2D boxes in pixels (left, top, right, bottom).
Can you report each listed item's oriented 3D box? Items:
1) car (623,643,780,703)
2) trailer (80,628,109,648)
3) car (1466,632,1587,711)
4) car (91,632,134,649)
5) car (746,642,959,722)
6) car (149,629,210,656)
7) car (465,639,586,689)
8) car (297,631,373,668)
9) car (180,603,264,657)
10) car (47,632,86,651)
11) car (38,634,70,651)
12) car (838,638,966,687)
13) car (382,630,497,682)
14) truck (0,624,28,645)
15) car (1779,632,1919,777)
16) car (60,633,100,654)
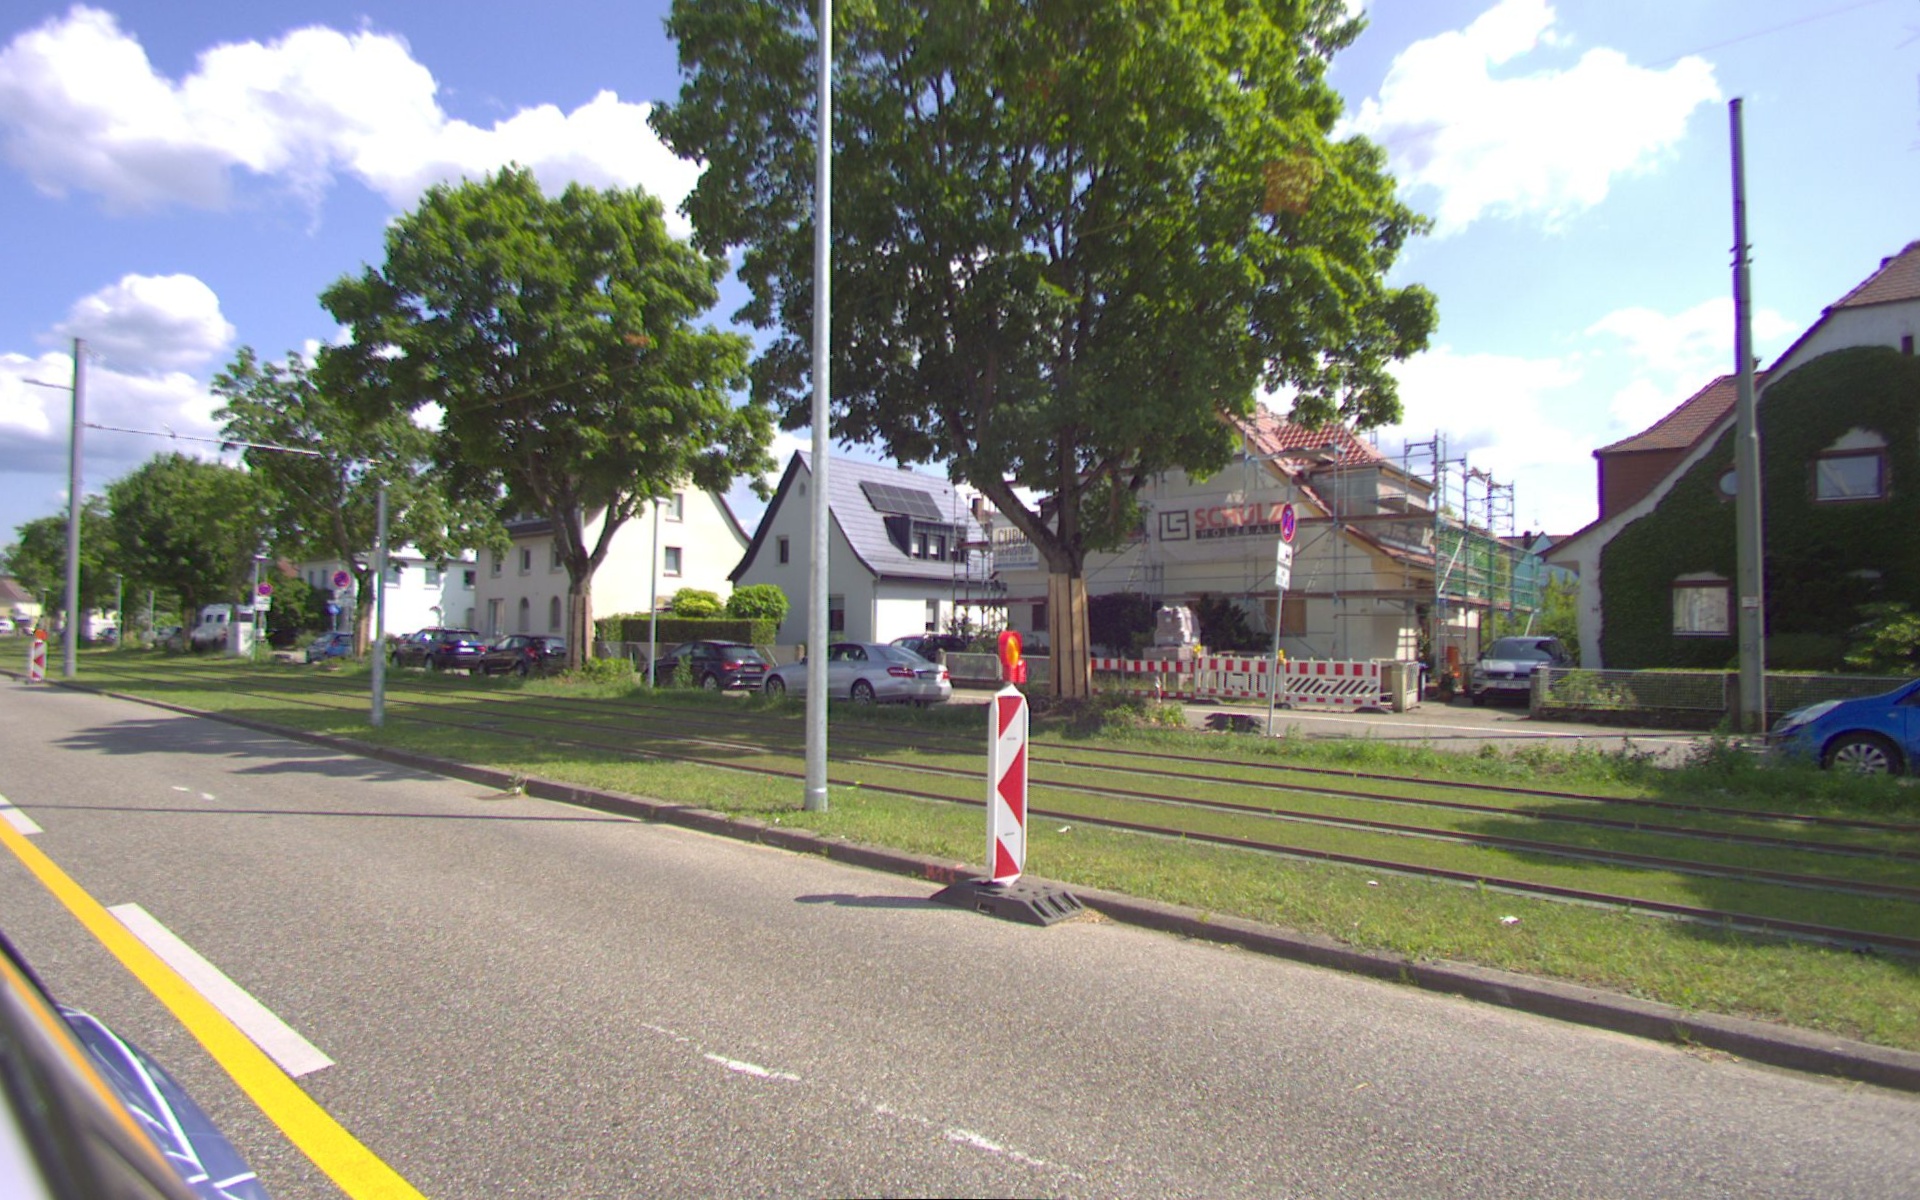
[{"bbox_3d":[-6.605,1.845,25.734,3.850,1.328,1.973,-1,-5,41],"label":"car"},{"bbox_3d":[-65.577,2.871,76.671,2.280,1.530,1.286,-1,-4,41],"label":"trailer"},{"bbox_3d":[13.424,1.658,23.911,1.872,1.697,3.610,-1,-3,40],"label":"car"},{"bbox_3d":[-61.367,2.945,73.253,3.834,1.101,1.763,-1,-3,41],"label":"car"},{"bbox_3d":[-2.465,1.722,22.247,4.937,1.494,1.786,-1,-3,41],"label":"car"},{"bbox_3d":[-46.699,2.512,60.518,4.484,1.517,1.973,-1,-3,41],"label":"car"},{"bbox_3d":[-14.068,2.057,32.669,3.997,1.450,1.973,-1,-4,41],"label":"car"},{"bbox_3d":[-26.573,2.084,42.981,3.889,1.447,1.735,-1,-3,43],"label":"car"},{"bbox_3d":[-39.739,1.643,54.436,6.455,2.751,1.974,-2,-4,39],"label":"car"},{"bbox_3d":[-76.978,3.574,87.177,4.321,1.551,1.972,-1,-3,42],"label":"car"},{"bbox_3d":[-89.955,4.194,100.494,4.323,1.551,1.971,-1,-3,44],"label":"car"},{"bbox_3d":[-1.814,1.969,32.811,1.981,1.412,3.946,0,-1,41],"label":"car"},{"bbox_3d":[-18.756,1.997,36.396,4.385,1.704,1.975,-1,-3,38],"label":"car"},{"bbox_3d":[-159.731,5.854,169.805,2.658,3.392,8.074,3,-4,-28],"label":"truck"},{"bbox_3d":[11.113,1.115,10.534,3.996,1.464,1.974,-1,-3,39],"label":"car"},{"bbox_3d":[-72.837,3.645,83.786,4.099,1.590,1.885,-3,-8,42],"label":"car"}]
